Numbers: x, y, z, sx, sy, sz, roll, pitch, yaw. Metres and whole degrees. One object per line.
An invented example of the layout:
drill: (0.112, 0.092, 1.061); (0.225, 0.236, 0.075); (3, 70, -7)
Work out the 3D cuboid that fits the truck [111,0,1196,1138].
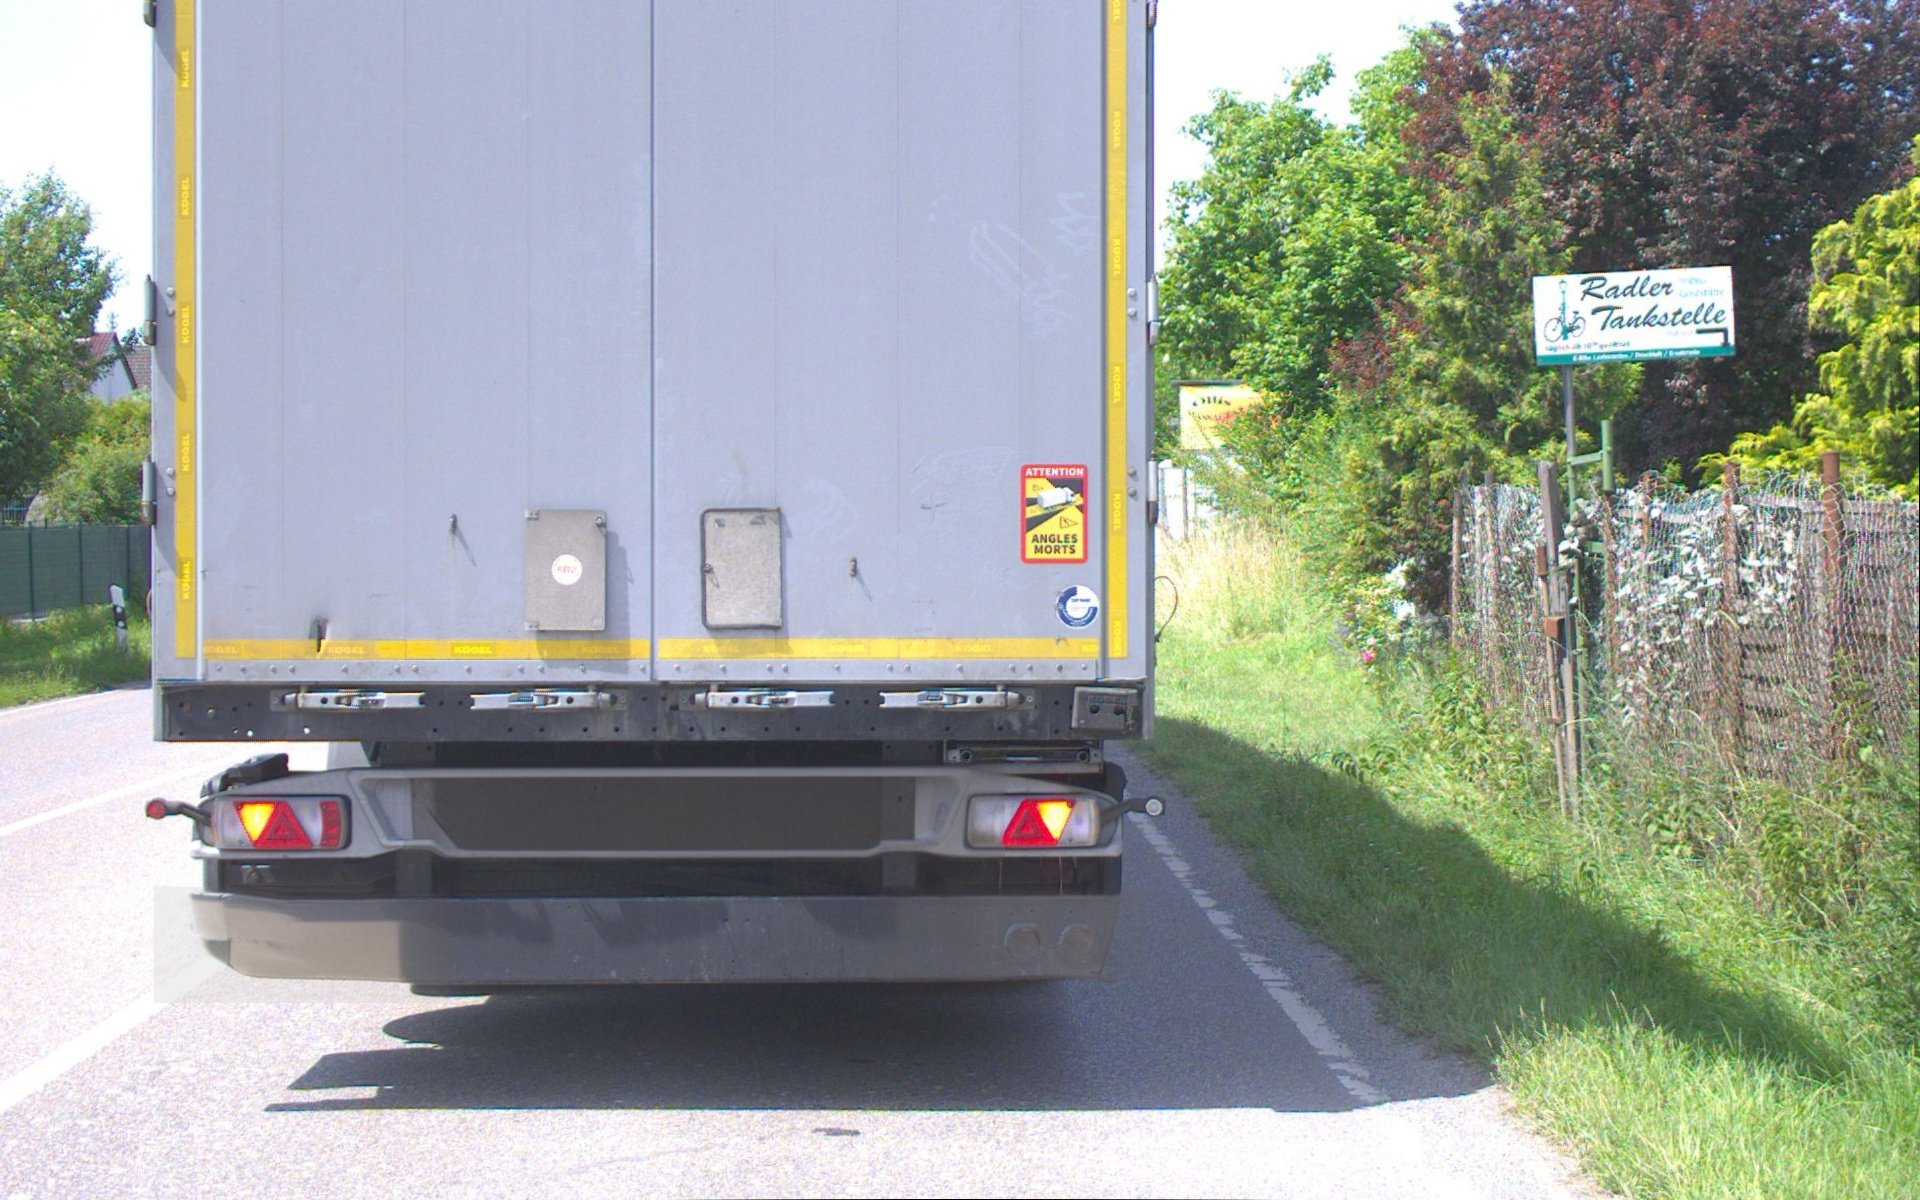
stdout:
truck: (-0.950, -0.730, 12.839); (2.647, 3.903, 8.826); (0, 1, -3)
